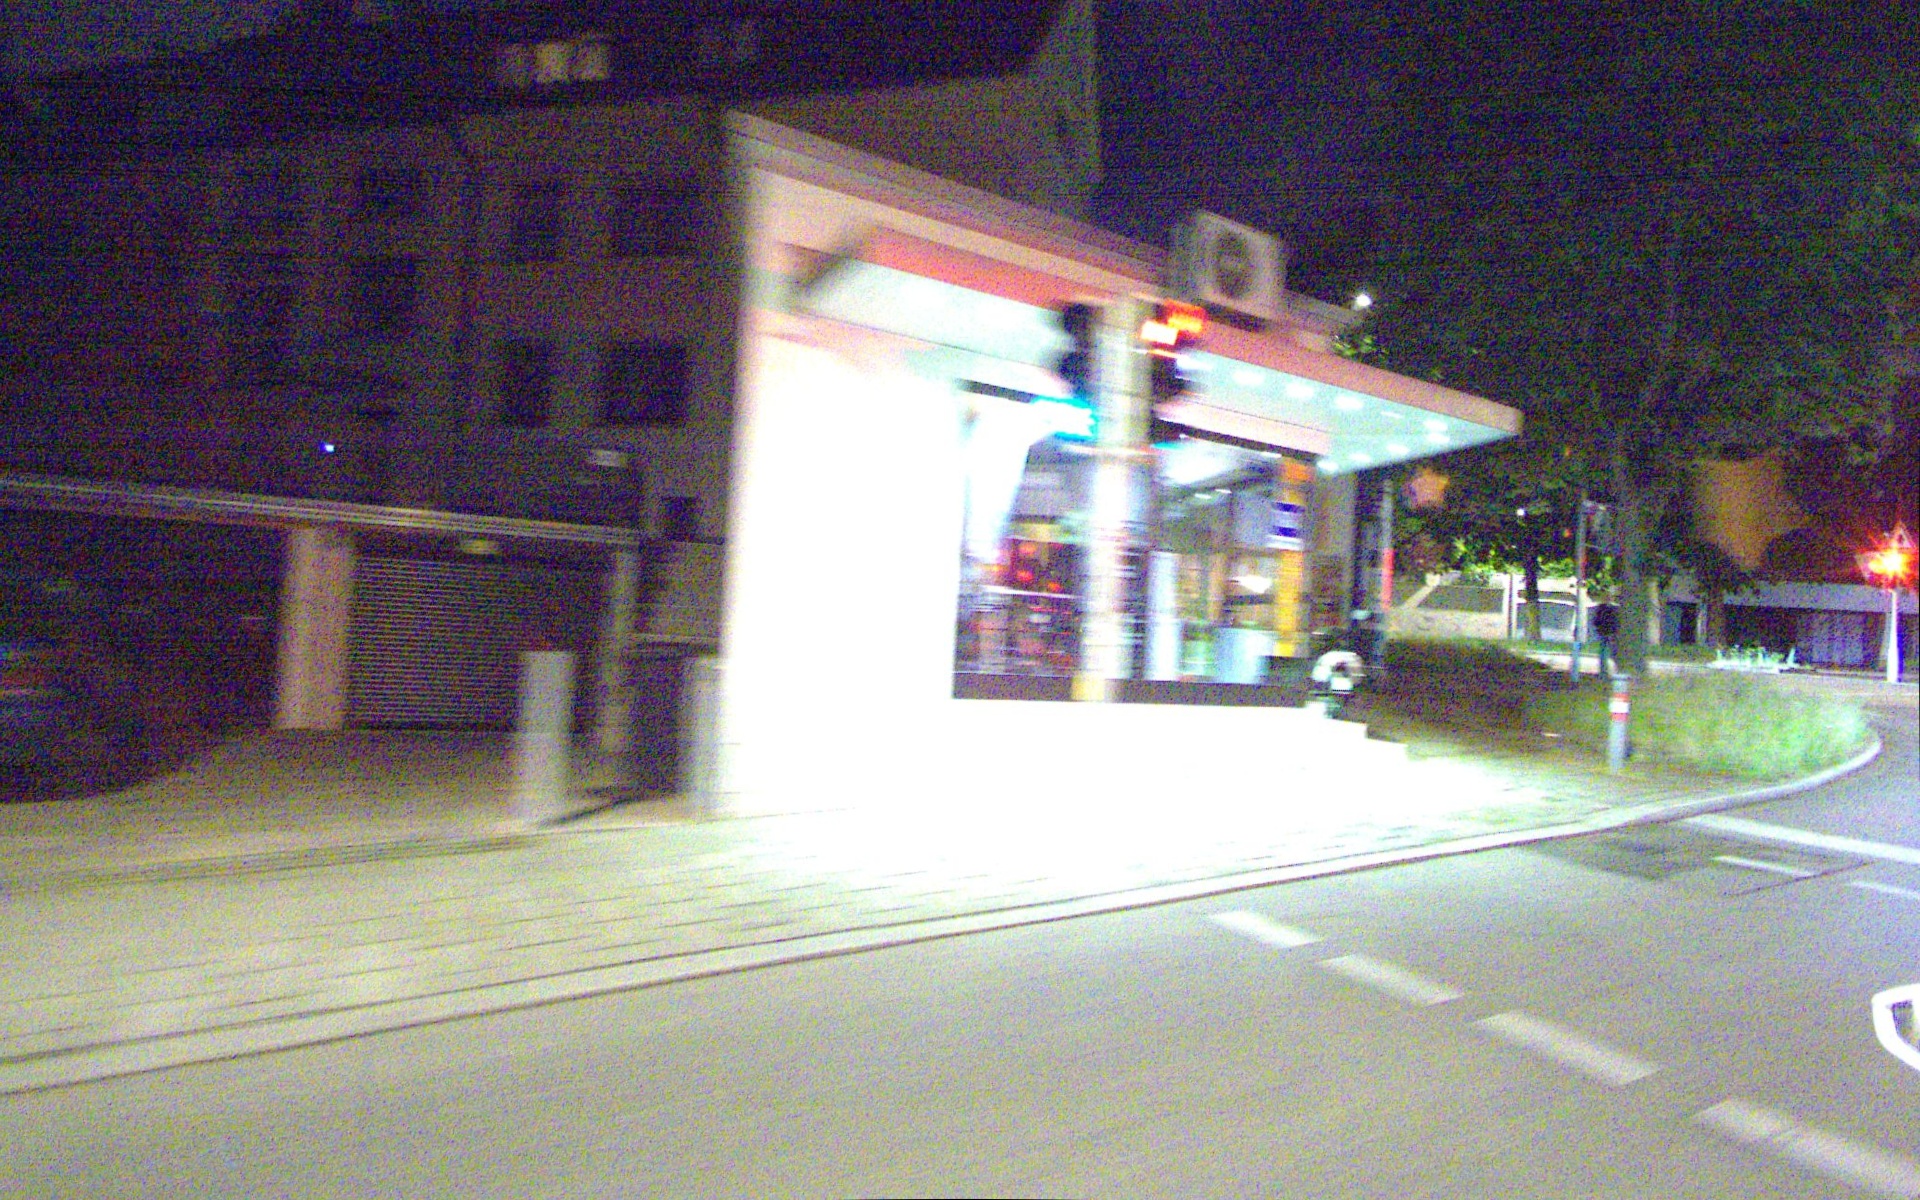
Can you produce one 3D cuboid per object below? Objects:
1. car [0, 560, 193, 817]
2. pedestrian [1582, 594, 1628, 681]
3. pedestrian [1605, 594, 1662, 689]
[{"bbox_3d":[-6.762,0.484,7.041,1.699,1.460,3.631,2,-1,-30],"label":"car"},{"bbox_3d":[13.142,0.756,20.467,0.537,1.754,0.567,2,0,-30],"label":"pedestrian"},{"bbox_3d":[13.082,0.800,19.519,0.728,1.801,0.567,2,2,-30],"label":"pedestrian"}]
